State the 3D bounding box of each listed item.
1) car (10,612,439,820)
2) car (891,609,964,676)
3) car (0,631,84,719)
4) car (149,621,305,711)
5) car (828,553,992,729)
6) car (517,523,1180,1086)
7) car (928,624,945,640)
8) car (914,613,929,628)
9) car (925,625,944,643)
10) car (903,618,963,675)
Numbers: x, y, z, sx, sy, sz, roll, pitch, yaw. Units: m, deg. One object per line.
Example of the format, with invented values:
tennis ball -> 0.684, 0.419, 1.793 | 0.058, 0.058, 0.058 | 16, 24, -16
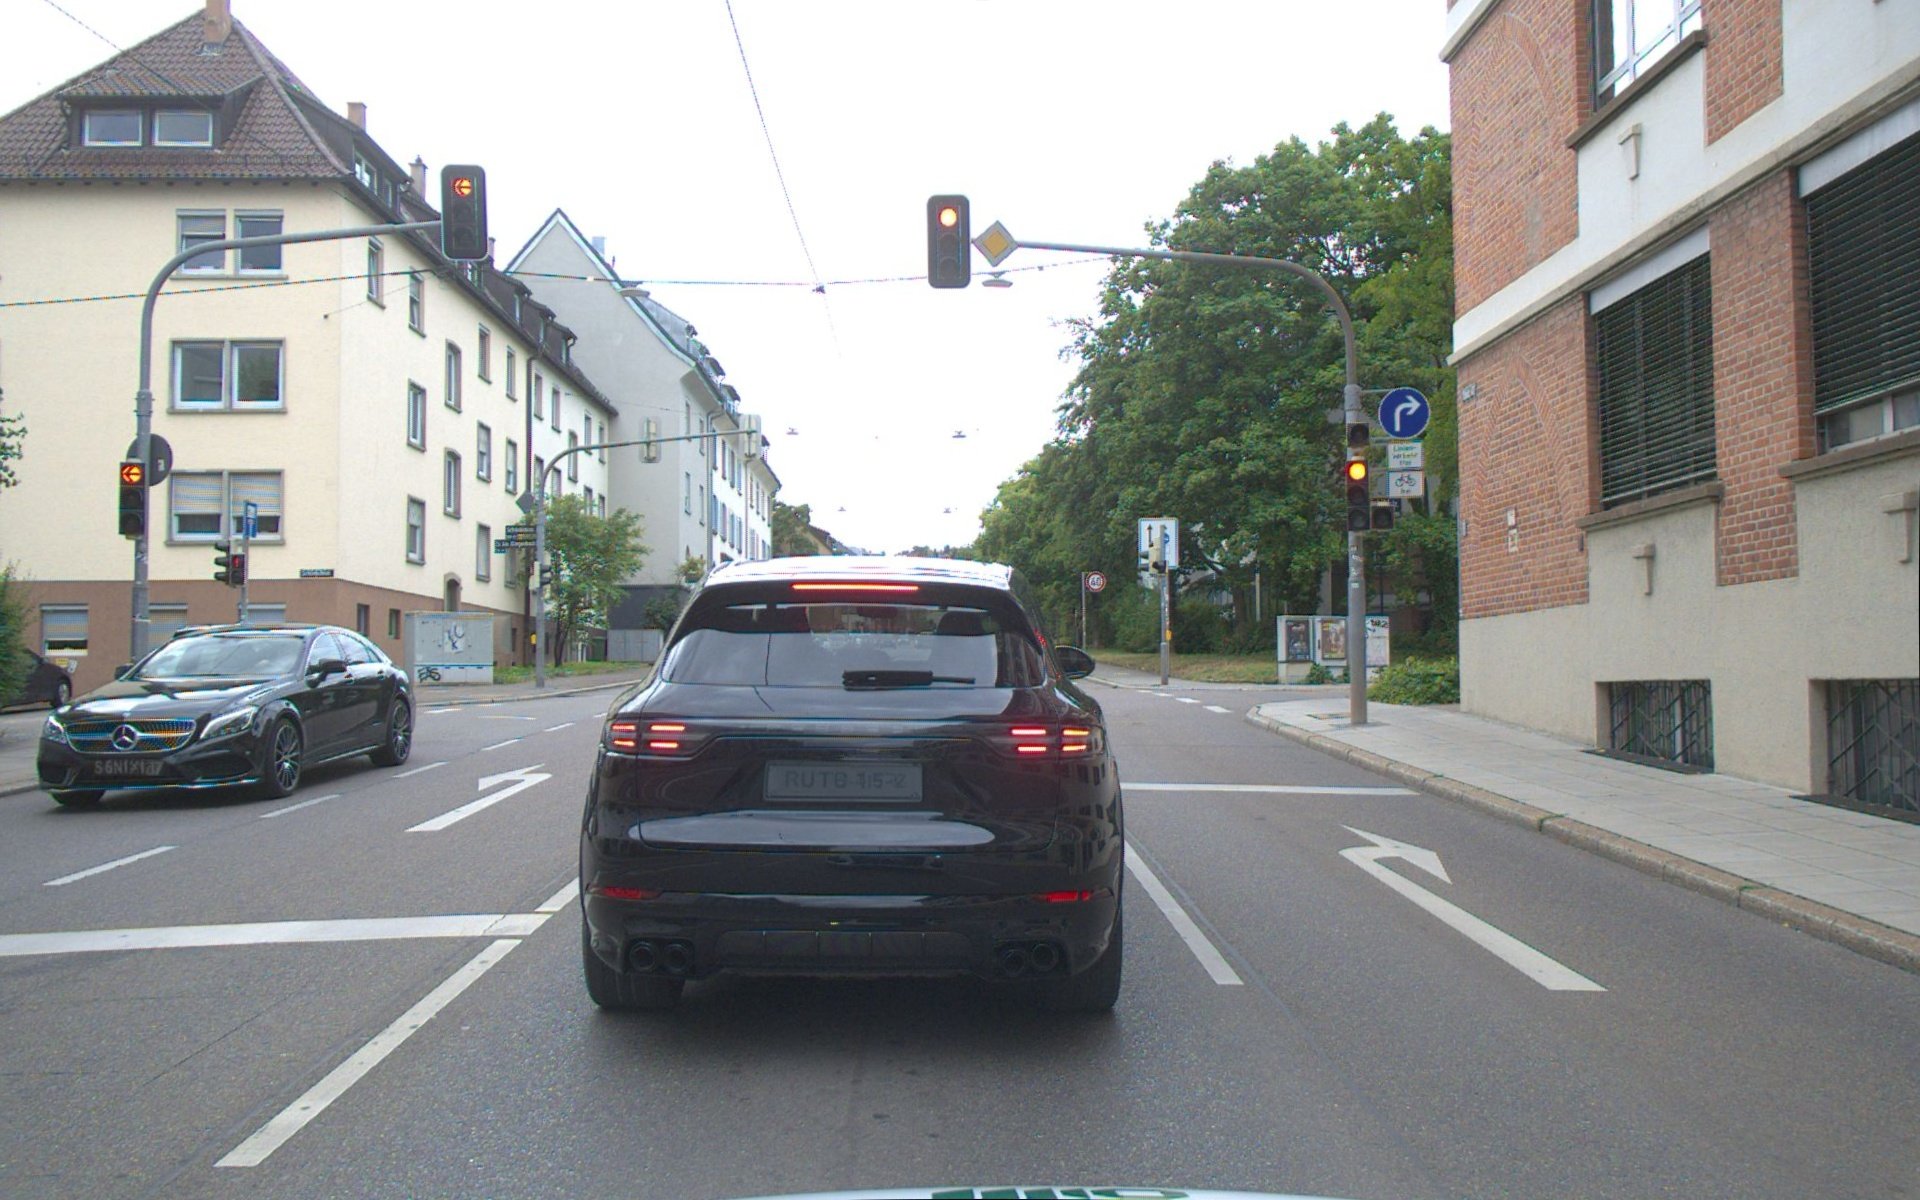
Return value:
car -> -6.383, 0.909, 15.035 | 1.749, 1.443, 4.670 | -3, 0, 0
car -> -0.837, 1.085, 43.796 | 1.790, 1.633, 4.134 | 1, 0, -1
car -> -19.627, 1.528, 33.761 | 1.658, 1.636, 3.762 | -3, 0, -5
car -> -14.716, 1.282, 33.428 | 1.658, 1.582, 3.762 | -3, 0, -5
car -> -0.616, 0.483, 21.885 | 1.925, 2.078, 4.134 | 1, 0, -1
car -> -0.358, 0.625, 7.217 | 2.007, 1.695, 4.266 | 1, 0, -1
car -> -2.601, 3.477, 182.395 | 1.790, 1.633, 4.134 | 1, 0, -1
car -> -4.721, 2.505, 202.838 | 1.790, 1.633, 4.134 | 1, 0, -1
car -> -2.526, 3.310, 162.977 | 1.790, 1.633, 4.134 | 1, 0, -1
car -> -0.843, 1.441, 52.509 | 1.790, 1.633, 3.858 | 1, 0, -1
